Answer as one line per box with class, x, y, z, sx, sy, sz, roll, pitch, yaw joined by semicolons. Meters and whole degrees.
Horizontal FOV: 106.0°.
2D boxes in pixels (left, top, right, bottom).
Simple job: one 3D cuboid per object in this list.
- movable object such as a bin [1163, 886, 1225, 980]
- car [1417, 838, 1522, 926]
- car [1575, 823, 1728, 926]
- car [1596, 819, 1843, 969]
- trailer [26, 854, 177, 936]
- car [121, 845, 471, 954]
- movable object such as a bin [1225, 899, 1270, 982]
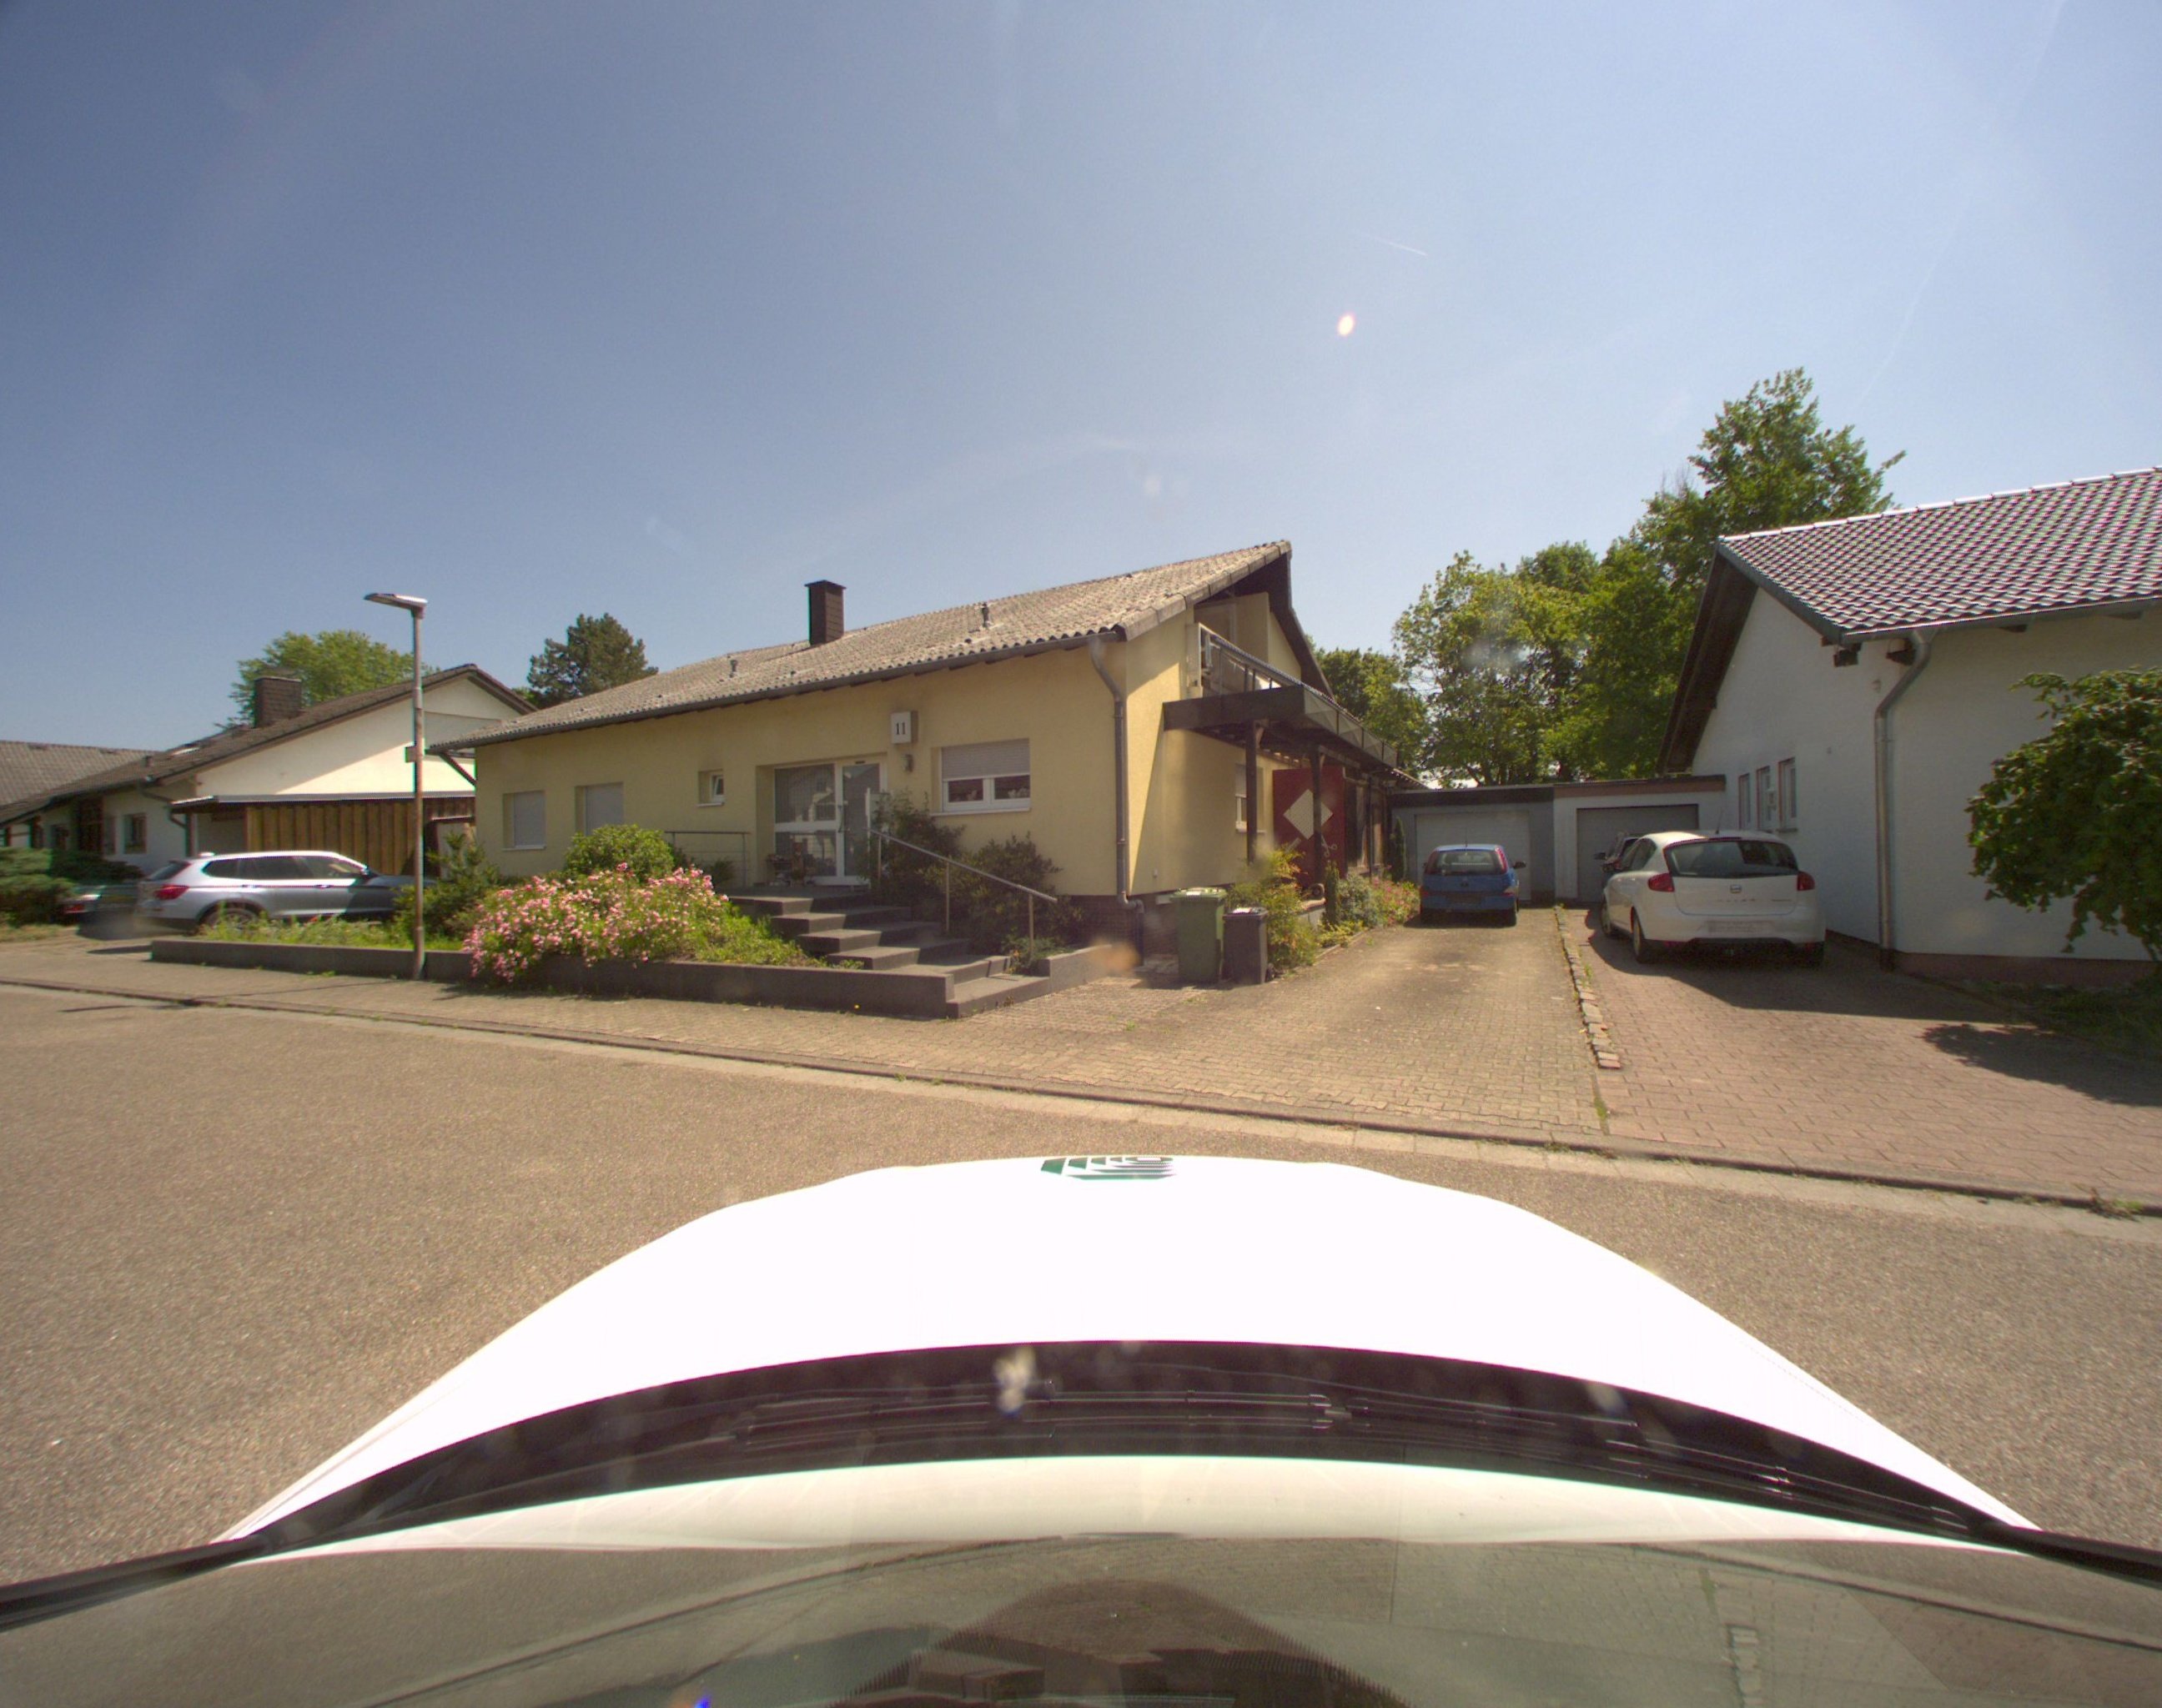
movable object such as a bin;1.330;0.915;9.536;0.586;1.041;0.494;-2;0;22
car;7.597;0.458;15.777;1.599;1.455;3.274;-1;1;29
car;10.311;0.301;15.018;1.904;1.607;4.025;-2;0;30
car;8.030;0.402;10.664;1.730;1.568;4.024;-1;0;26
trailer;-22.498;0.871;18.699;3.254;1.672;1.602;0;2;30
car;-15.279;0.769;16.194;1.687;1.702;4.673;-1;2;32
movable object such as a bin;1.902;0.972;9.268;0.403;0.891;0.428;-2;0;21
